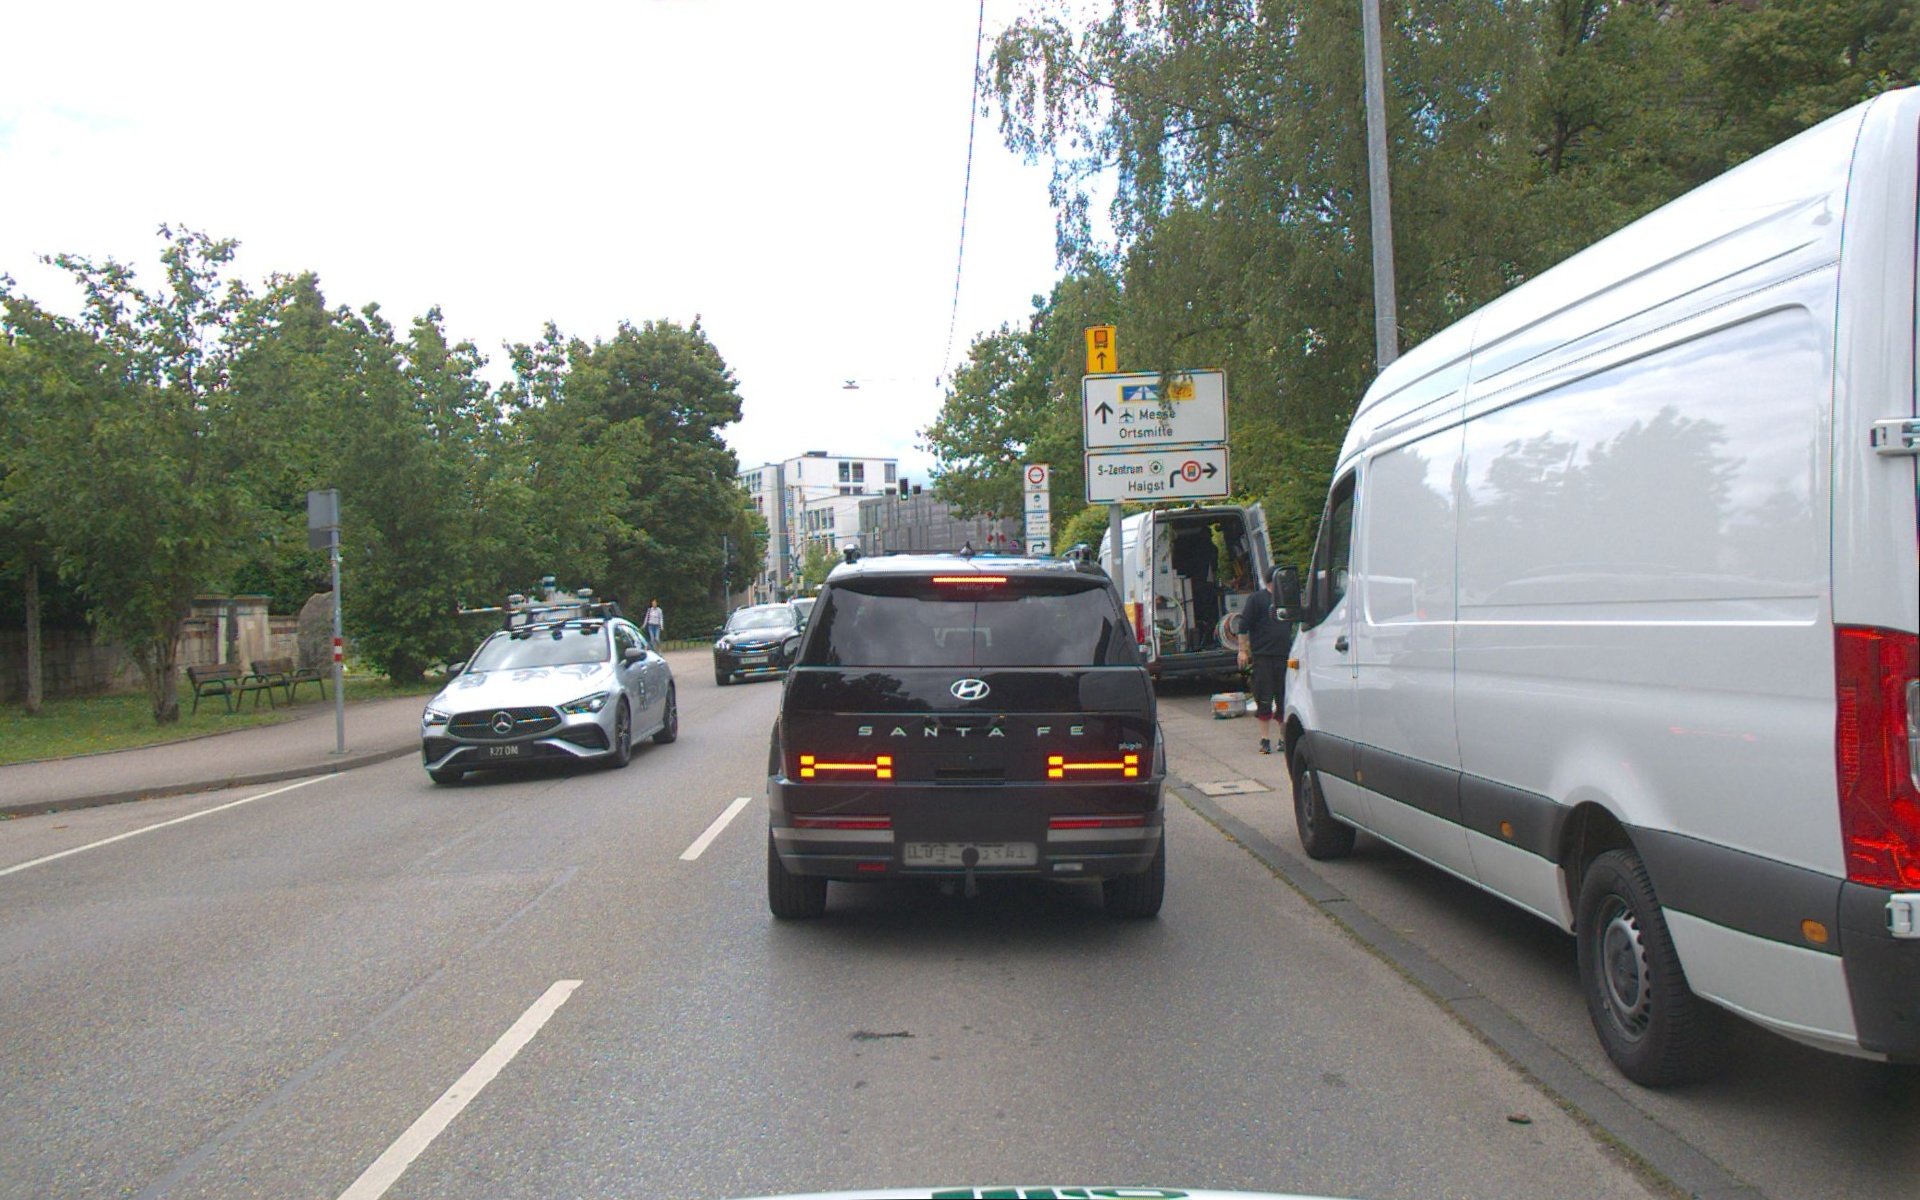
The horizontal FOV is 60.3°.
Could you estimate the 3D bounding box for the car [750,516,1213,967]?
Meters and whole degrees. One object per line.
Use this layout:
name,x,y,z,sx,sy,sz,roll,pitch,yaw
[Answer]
car,0.065,0.587,8.736,1.858,1.807,3.993,1,0,-1

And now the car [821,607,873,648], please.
car,-4.588,1.106,67.582,1.778,1.443,4.827,-5,0,-1

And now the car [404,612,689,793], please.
car,-3.951,0.906,16.572,1.721,1.427,4.413,-4,0,-1

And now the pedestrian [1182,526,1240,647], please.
pedestrian,3.605,-0.188,23.800,0.721,1.672,0.802,-3,-1,8

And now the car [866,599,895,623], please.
car,-5.447,0.747,114.227,1.800,1.565,4.267,-2,0,-1

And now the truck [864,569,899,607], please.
truck,-8.541,-1.274,179.754,3.048,3.926,9.607,-2,0,-7

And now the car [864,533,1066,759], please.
car,0.021,0.442,17.464,1.858,2.077,3.993,1,0,-1

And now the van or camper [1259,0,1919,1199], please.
van or camper,2.903,0.065,6.589,1.951,2.670,6.543,-5,0,-1

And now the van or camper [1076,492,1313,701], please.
van or camper,3.306,0.008,24.969,2.294,2.537,6.600,-5,-1,-2

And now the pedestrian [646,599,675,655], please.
pedestrian,-9.571,0.861,52.860,0.751,1.779,0.904,0,-1,0

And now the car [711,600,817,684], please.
car,-3.948,0.824,33.856,1.667,1.509,3.999,-4,0,-1

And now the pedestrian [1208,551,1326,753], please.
pedestrian,2.819,0.468,15.158,0.773,1.750,0.752,-5,-1,24

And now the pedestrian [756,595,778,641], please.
pedestrian,-8.836,0.819,75.681,0.812,2.049,1.047,1,-1,1

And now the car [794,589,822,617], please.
car,-13.212,0.254,143.532,2.288,2.356,4.950,-2,0,-7

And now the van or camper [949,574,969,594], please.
van or camper,-0.120,-1.667,172.160,1.760,2.033,3.820,1,0,-4

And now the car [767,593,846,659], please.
car,-4.345,0.729,47.287,1.842,1.673,4.126,-4,0,-1
